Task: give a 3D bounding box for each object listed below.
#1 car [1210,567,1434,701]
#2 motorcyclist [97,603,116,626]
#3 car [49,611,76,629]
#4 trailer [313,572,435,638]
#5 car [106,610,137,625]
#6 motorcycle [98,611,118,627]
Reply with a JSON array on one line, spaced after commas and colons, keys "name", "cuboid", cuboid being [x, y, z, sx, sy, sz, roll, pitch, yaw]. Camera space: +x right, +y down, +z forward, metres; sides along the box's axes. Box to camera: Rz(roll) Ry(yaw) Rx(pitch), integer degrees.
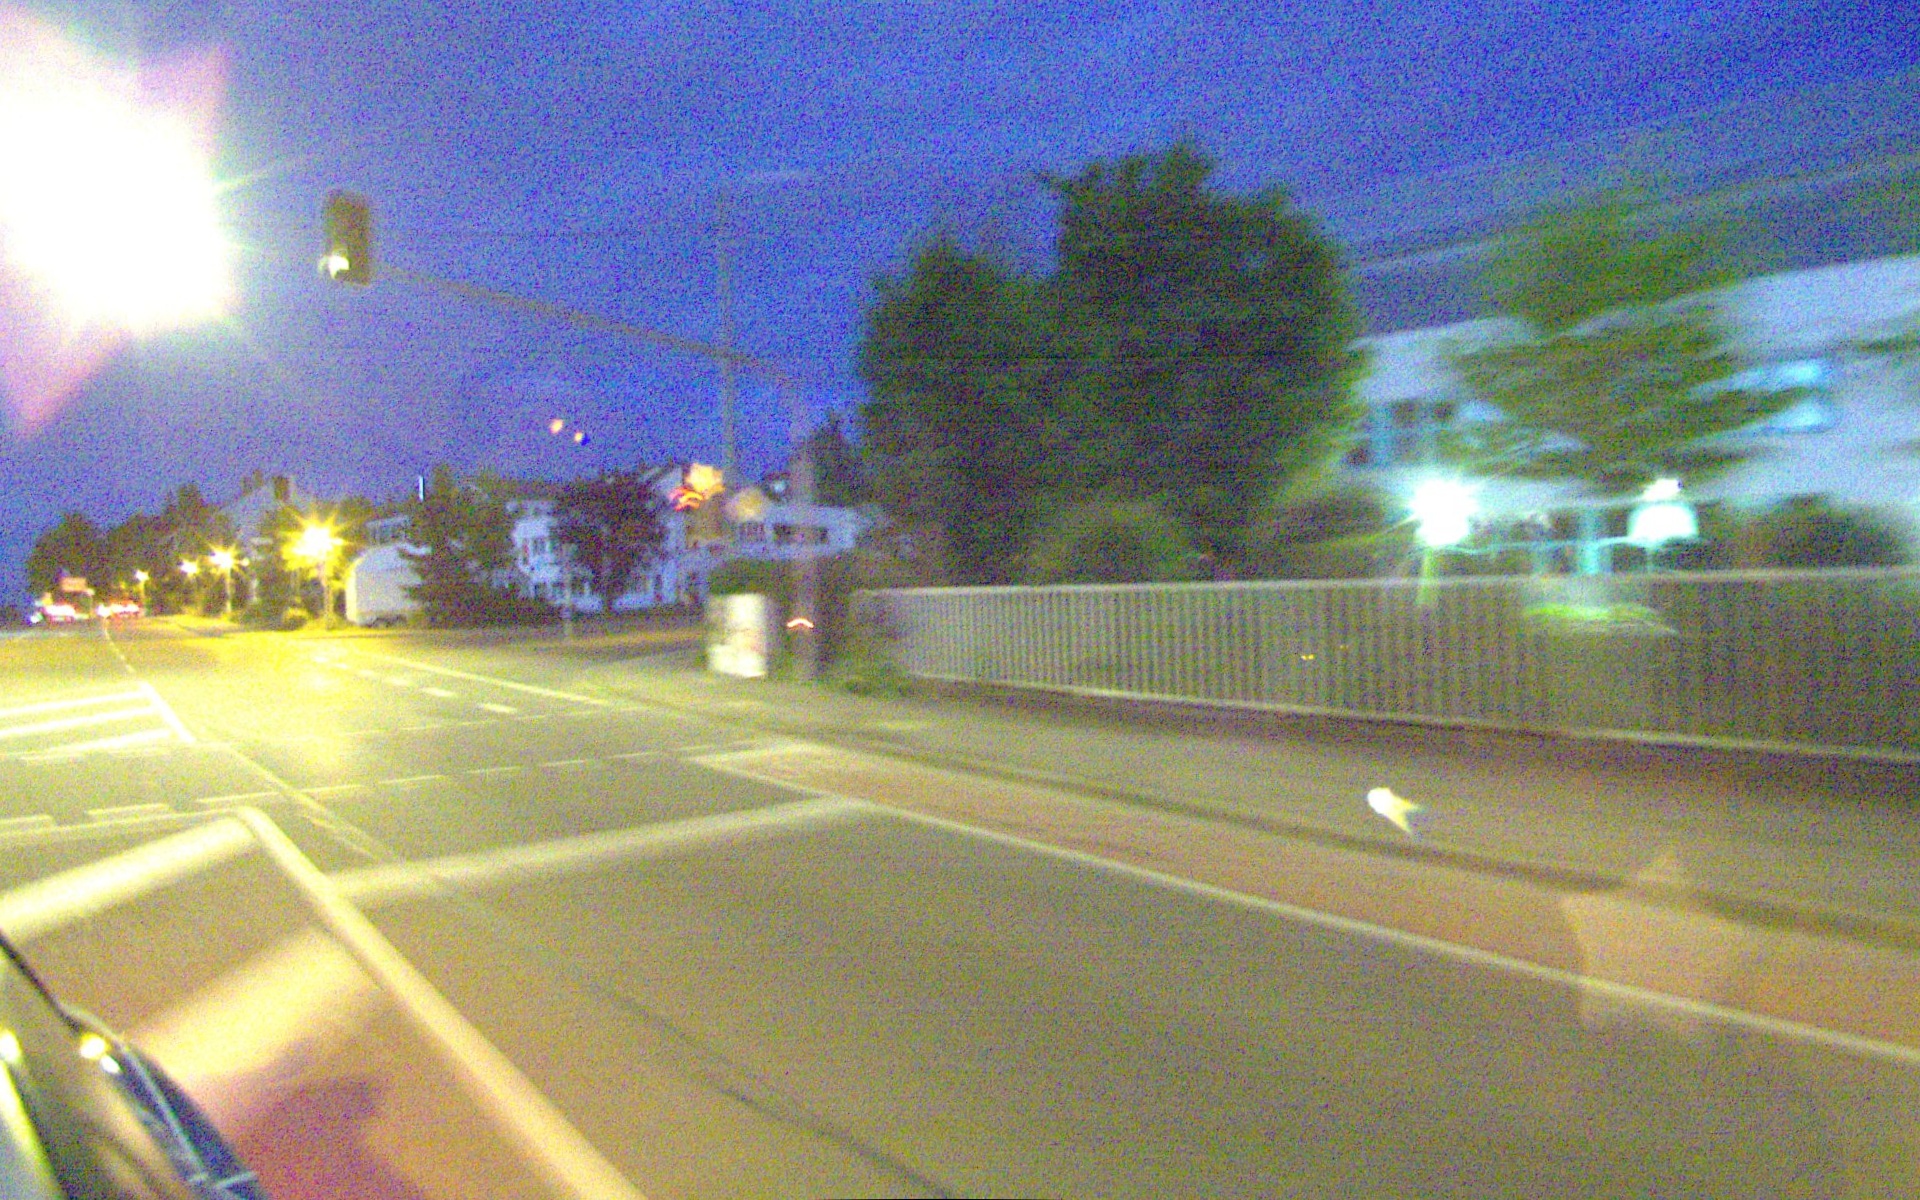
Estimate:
[{"name": "car", "cuboid": [5.717, 0.430, 15.691, 1.998, 1.785, 4.085, -1, 0, 40]}, {"name": "motorcyclist", "cuboid": [-73.741, 1.250, 87.422, 0.833, 1.914, 1.122, -1, 0, 42]}, {"name": "car", "cuboid": [-90.180, 1.994, 101.674, 1.969, 1.639, 4.758, -1, 0, -42]}, {"name": "trailer", "cuboid": [-25.646, 0.249, 44.361, 4.296, 2.741, 2.002, 1, -2, -42]}, {"name": "car", "cuboid": [-82.772, 1.723, 99.909, 4.918, 1.456, 1.828, -1, 0, 44]}, {"name": "motorcycle", "cuboid": [-73.591, 1.650, 87.373, 2.826, 1.314, 0.986, -1, 0, 43]}]
